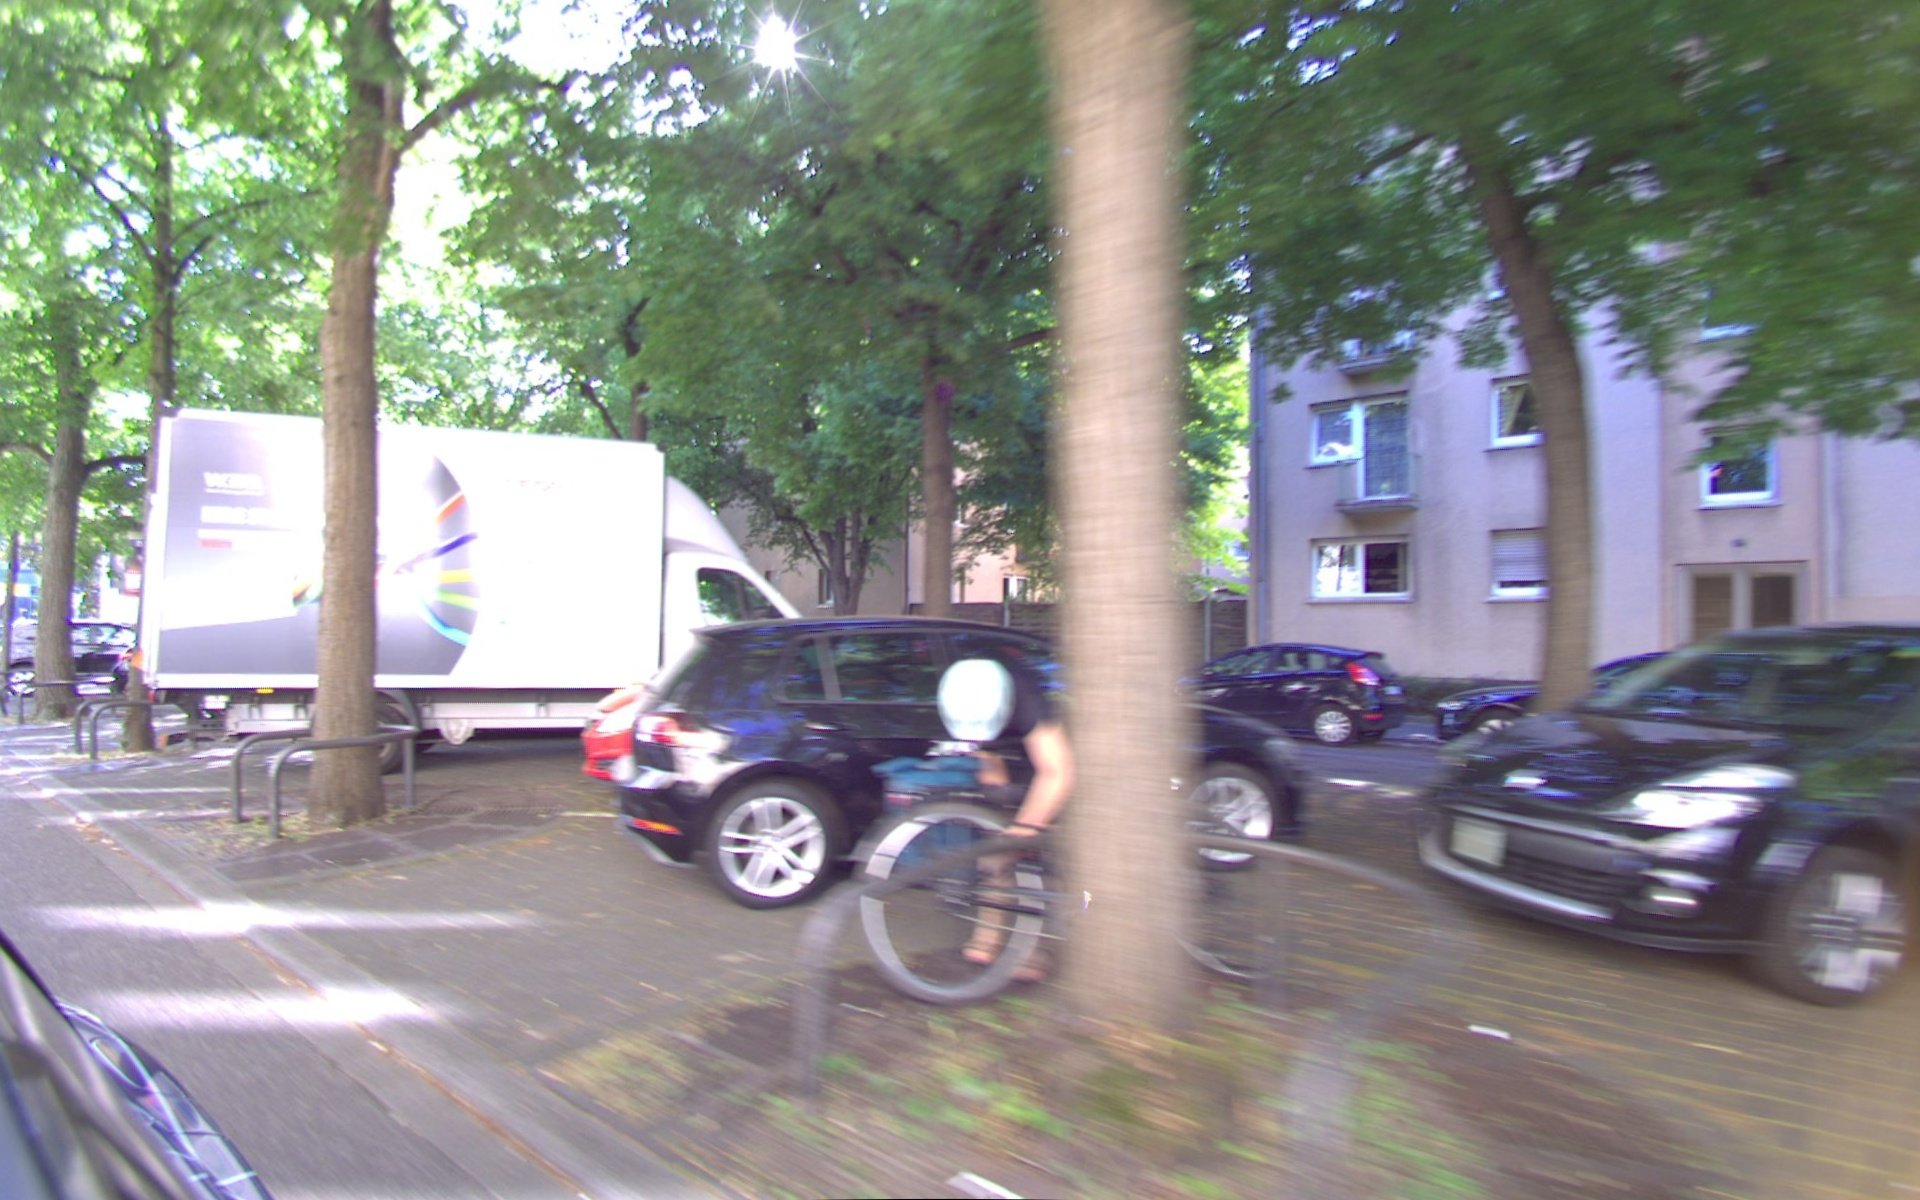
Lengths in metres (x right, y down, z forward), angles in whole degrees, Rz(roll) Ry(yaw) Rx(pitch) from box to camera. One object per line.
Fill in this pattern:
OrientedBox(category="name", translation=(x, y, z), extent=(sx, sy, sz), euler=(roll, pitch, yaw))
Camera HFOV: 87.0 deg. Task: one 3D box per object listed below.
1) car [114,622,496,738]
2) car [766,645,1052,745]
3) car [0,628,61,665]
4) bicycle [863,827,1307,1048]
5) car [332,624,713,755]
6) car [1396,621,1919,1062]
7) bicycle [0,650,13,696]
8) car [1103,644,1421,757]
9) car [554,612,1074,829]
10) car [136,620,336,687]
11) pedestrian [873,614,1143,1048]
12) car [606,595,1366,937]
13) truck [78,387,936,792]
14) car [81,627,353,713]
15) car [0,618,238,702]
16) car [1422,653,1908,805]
OrientedBox(category="car", translation=(-9.233, 1.120, 14.694), extent=(4.270, 1.518, 1.819), euler=(1, -2, -15))
OrientedBox(category="car", translation=(-0.892, 1.420, 15.895), extent=(4.407, 1.304, 1.747), euler=(-1, -5, 38))
OrientedBox(category="car", translation=(-40.649, 2.013, 43.651), extent=(1.655, 1.519, 3.607), euler=(-1, -2, -21))
OrientedBox(category="bicycle", translation=(0.471, 1.192, 3.722), extent=(1.586, 0.563, 0.411), euler=(1, -3, -18))
OrientedBox(category="car", translation=(-5.454, 1.105, 13.194), extent=(4.270, 1.518, 1.819), euler=(1, -2, -15))
OrientedBox(category="car", translation=(4.117, 0.823, 4.551), extent=(3.737, 1.417, 1.628), euler=(1, -2, -15))
OrientedBox(category="bicycle", translation=(-23.348, 1.741, 24.352), extent=(1.586, 1.080, 0.350), euler=(-1, -3, 31))
OrientedBox(category="car", translation=(4.533, 1.449, 15.453), extent=(4.333, 1.446, 1.748), euler=(-1, -4, 35))
OrientedBox(category="car", translation=(-1.226, 0.892, 8.537), extent=(3.931, 1.514, 1.854), euler=(1, -2, -17))
OrientedBox(category="car", translation=(-18.526, 1.389, 26.153), extent=(3.931, 1.623, 1.928), euler=(2, -3, -28))
OrientedBox(category="pedestrian", translation=(0.142, 0.775, 3.864), extent=(0.740, 1.407, 0.931), euler=(1, -3, -17))
OrientedBox(category="car", translation=(0.098, 0.787, 5.943), extent=(4.038, 1.518, 1.738), euler=(1, -2, -17))
OrientedBox(category="truck", translation=(-4.097, 0.049, 10.589), extent=(7.200, 3.319, 2.554), euler=(2, -3, -17))
OrientedBox(category="car", translation=(-13.805, 1.296, 19.089), extent=(3.757, 1.492, 1.767), euler=(1, -2, -20))
OrientedBox(category="car", translation=(-18.843, 1.288, 22.437), extent=(4.262, 1.684, 1.843), euler=(-1, -2, -19))
OrientedBox(category="car", translation=(8.168, 1.389, 12.128), extent=(4.531, 1.417, 1.602), euler=(-1, -3, 40))
